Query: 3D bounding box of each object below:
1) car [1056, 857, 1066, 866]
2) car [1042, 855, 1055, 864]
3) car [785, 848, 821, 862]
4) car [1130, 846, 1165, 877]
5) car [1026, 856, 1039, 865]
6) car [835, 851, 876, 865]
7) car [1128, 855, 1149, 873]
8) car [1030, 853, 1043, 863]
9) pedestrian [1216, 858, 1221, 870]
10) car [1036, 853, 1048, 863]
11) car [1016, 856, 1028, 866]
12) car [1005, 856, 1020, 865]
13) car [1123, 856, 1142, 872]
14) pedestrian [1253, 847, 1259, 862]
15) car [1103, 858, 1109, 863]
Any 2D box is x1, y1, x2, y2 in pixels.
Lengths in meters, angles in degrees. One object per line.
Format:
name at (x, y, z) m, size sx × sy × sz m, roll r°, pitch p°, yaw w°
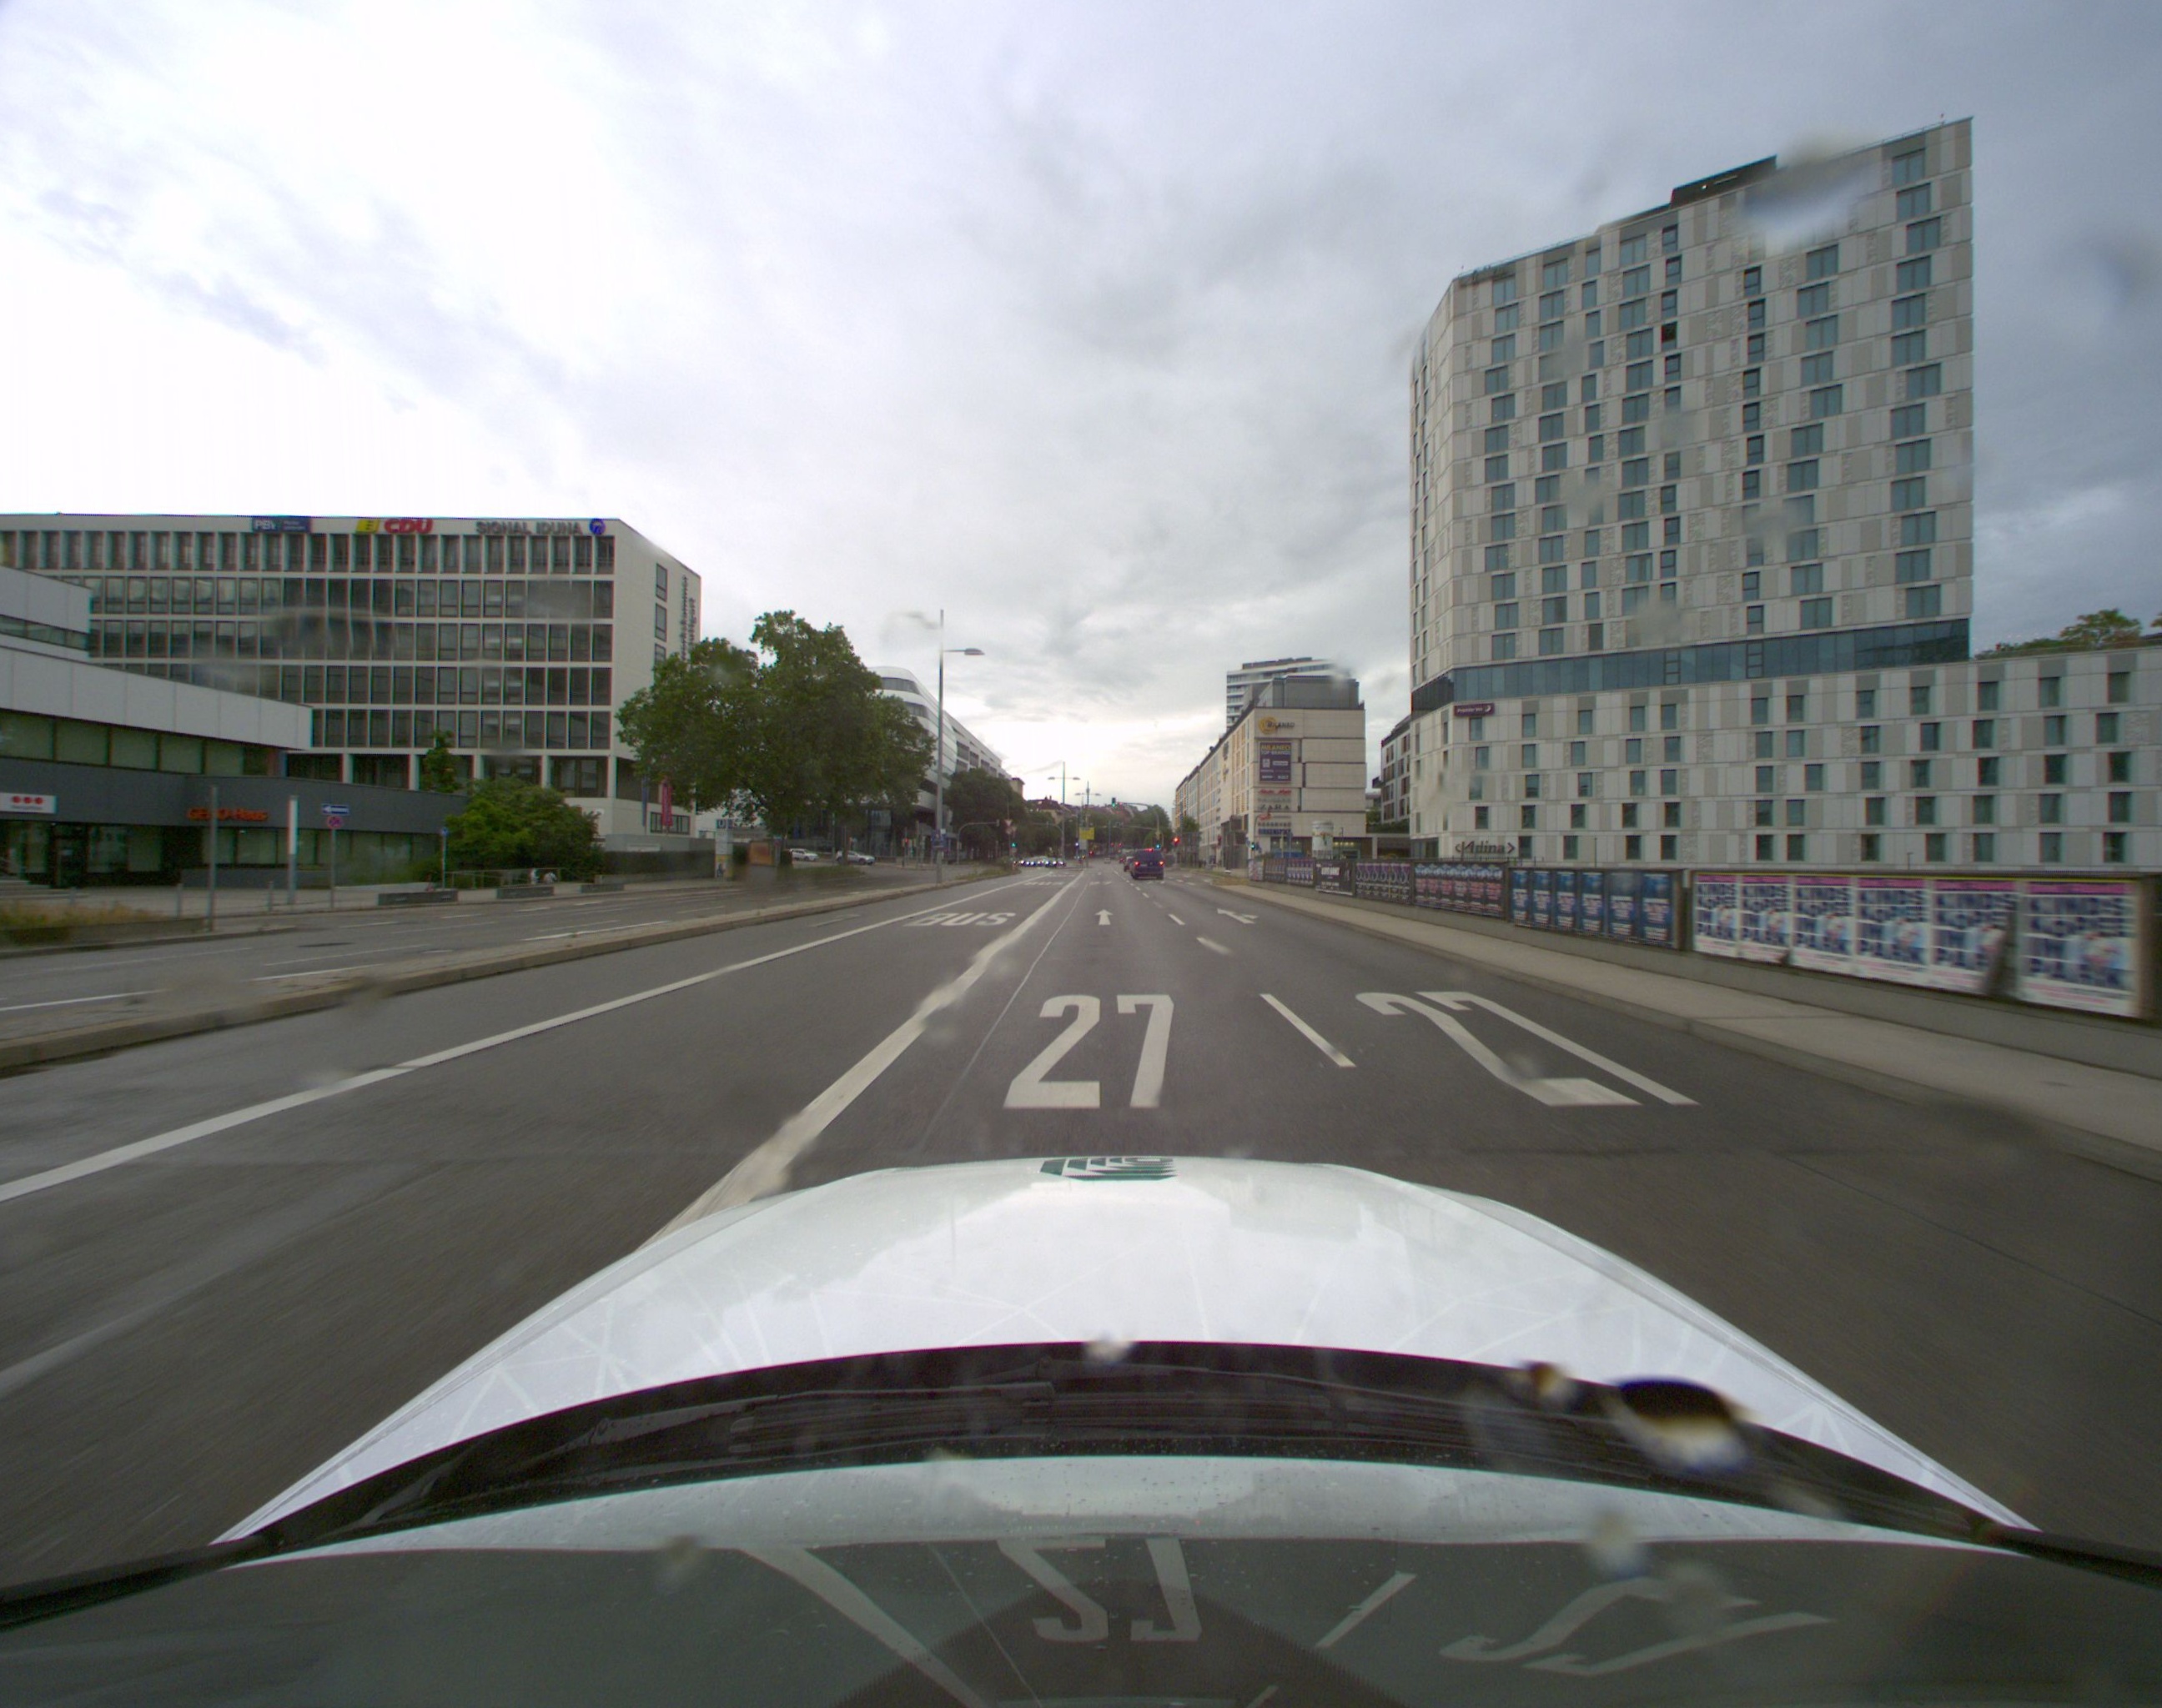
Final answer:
car at (-3.585, 1.388, 146.526) m, size 1.532 × 1.477 × 3.697 m, roll -1°, pitch -1°, yaw 2°
car at (-4.949, 0.855, 124.761) m, size 1.736 × 1.444 × 3.396 m, roll -1°, pitch -1°, yaw 2°
car at (-34.684, 0.110, 101.653) m, size 3.955 × 1.631 × 1.903 m, roll -1°, pitch -1°, yaw 17°
car at (4.381, 0.466, 54.315) m, size 2.025 × 1.882 × 5.045 m, roll -3°, pitch 0°, yaw 2°
car at (-7.499, 0.972, 126.104) m, size 1.736 × 1.257 × 3.541 m, roll 0°, pitch 0°, yaw 2°
car at (-27.354, 0.520, 98.805) m, size 4.466 × 1.631 × 1.903 m, roll -1°, pitch -1°, yaw 17°
car at (5.145, 0.887, 72.665) m, size 1.718 × 1.531 × 3.815 m, roll -1°, pitch -1°, yaw 2°
car at (-7.243, 0.614, 133.332) m, size 1.736 × 1.559 × 3.541 m, roll -1°, pitch -1°, yaw 2°
pedestrian at (18.443, 1.286, 109.019) m, size 0.548 × 1.611 × 0.698 m, roll -1°, pitch -1°, yaw 2°
car at (-7.003, 0.715, 146.851) m, size 1.736 × 1.748 × 3.541 m, roll -1°, pitch -1°, yaw 2°
car at (-10.046, 1.200, 139.056) m, size 1.736 × 1.559 × 3.541 m, roll -1°, pitch -1°, yaw 2°
car at (-10.570, 1.066, 125.751) m, size 1.736 × 1.328 × 4.227 m, roll -1°, pitch -1°, yaw 2°
car at (5.151, 0.986, 81.698) m, size 1.733 × 1.531 × 3.815 m, roll -1°, pitch -1°, yaw 2°
pedestrian at (21.652, 0.040, 100.693) m, size 0.442 × 1.780 × 0.589 m, roll 0°, pitch -1°, yaw -32°
car at (7.653, 2.088, 251.459) m, size 1.734 × 1.531 × 3.815 m, roll -1°, pitch 0°, yaw 1°
